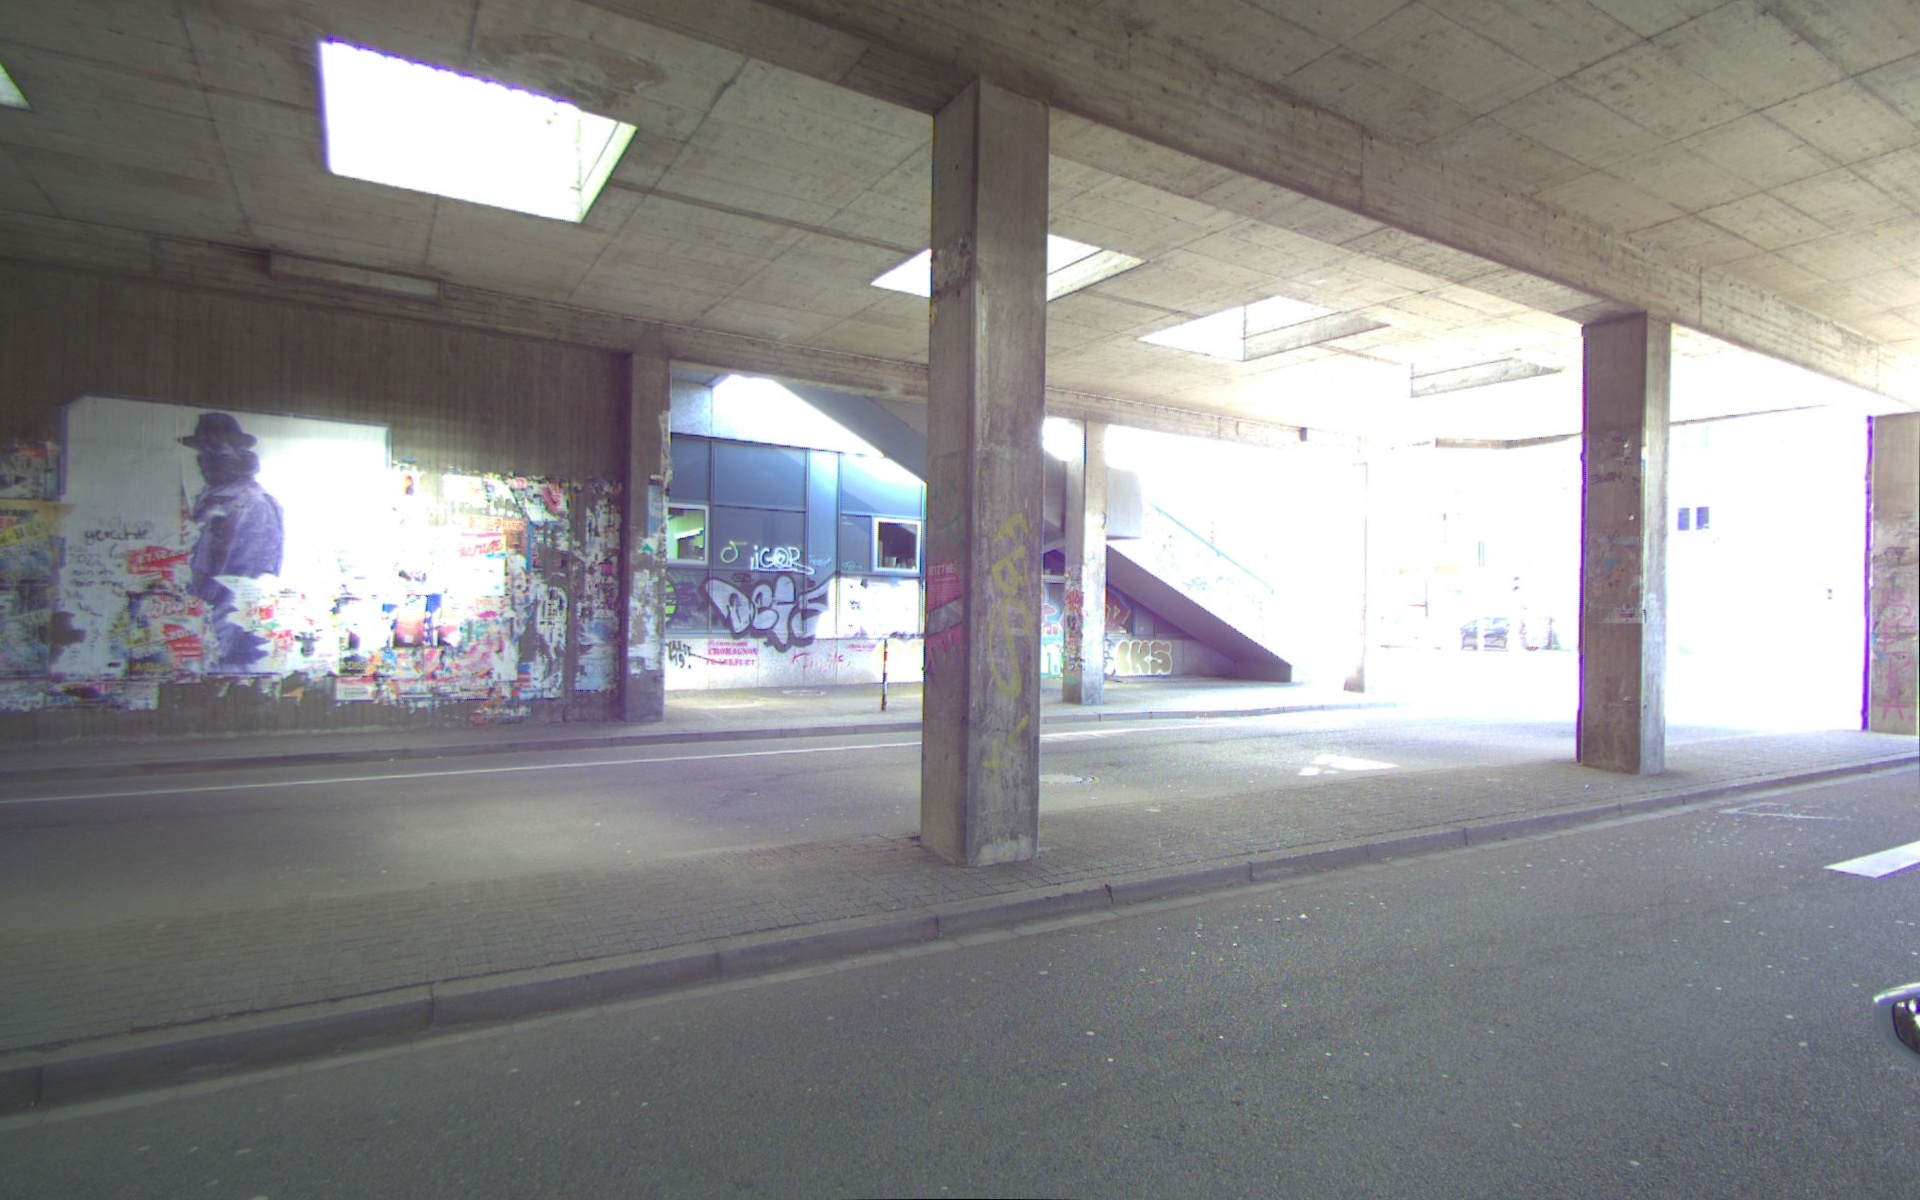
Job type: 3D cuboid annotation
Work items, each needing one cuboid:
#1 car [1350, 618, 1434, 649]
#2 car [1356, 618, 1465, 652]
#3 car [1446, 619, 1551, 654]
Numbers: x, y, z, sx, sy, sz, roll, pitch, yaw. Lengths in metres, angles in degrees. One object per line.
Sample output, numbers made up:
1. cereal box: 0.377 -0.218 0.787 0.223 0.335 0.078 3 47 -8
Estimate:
1. car: 22.579 1.717 52.626 1.730 1.495 3.741 2 -1 -31
2. car: 20.425 1.577 45.685 1.860 1.417 4.259 2 -1 -30
3. car: 25.491 1.702 47.671 1.718 1.495 4.089 2 -1 -31
